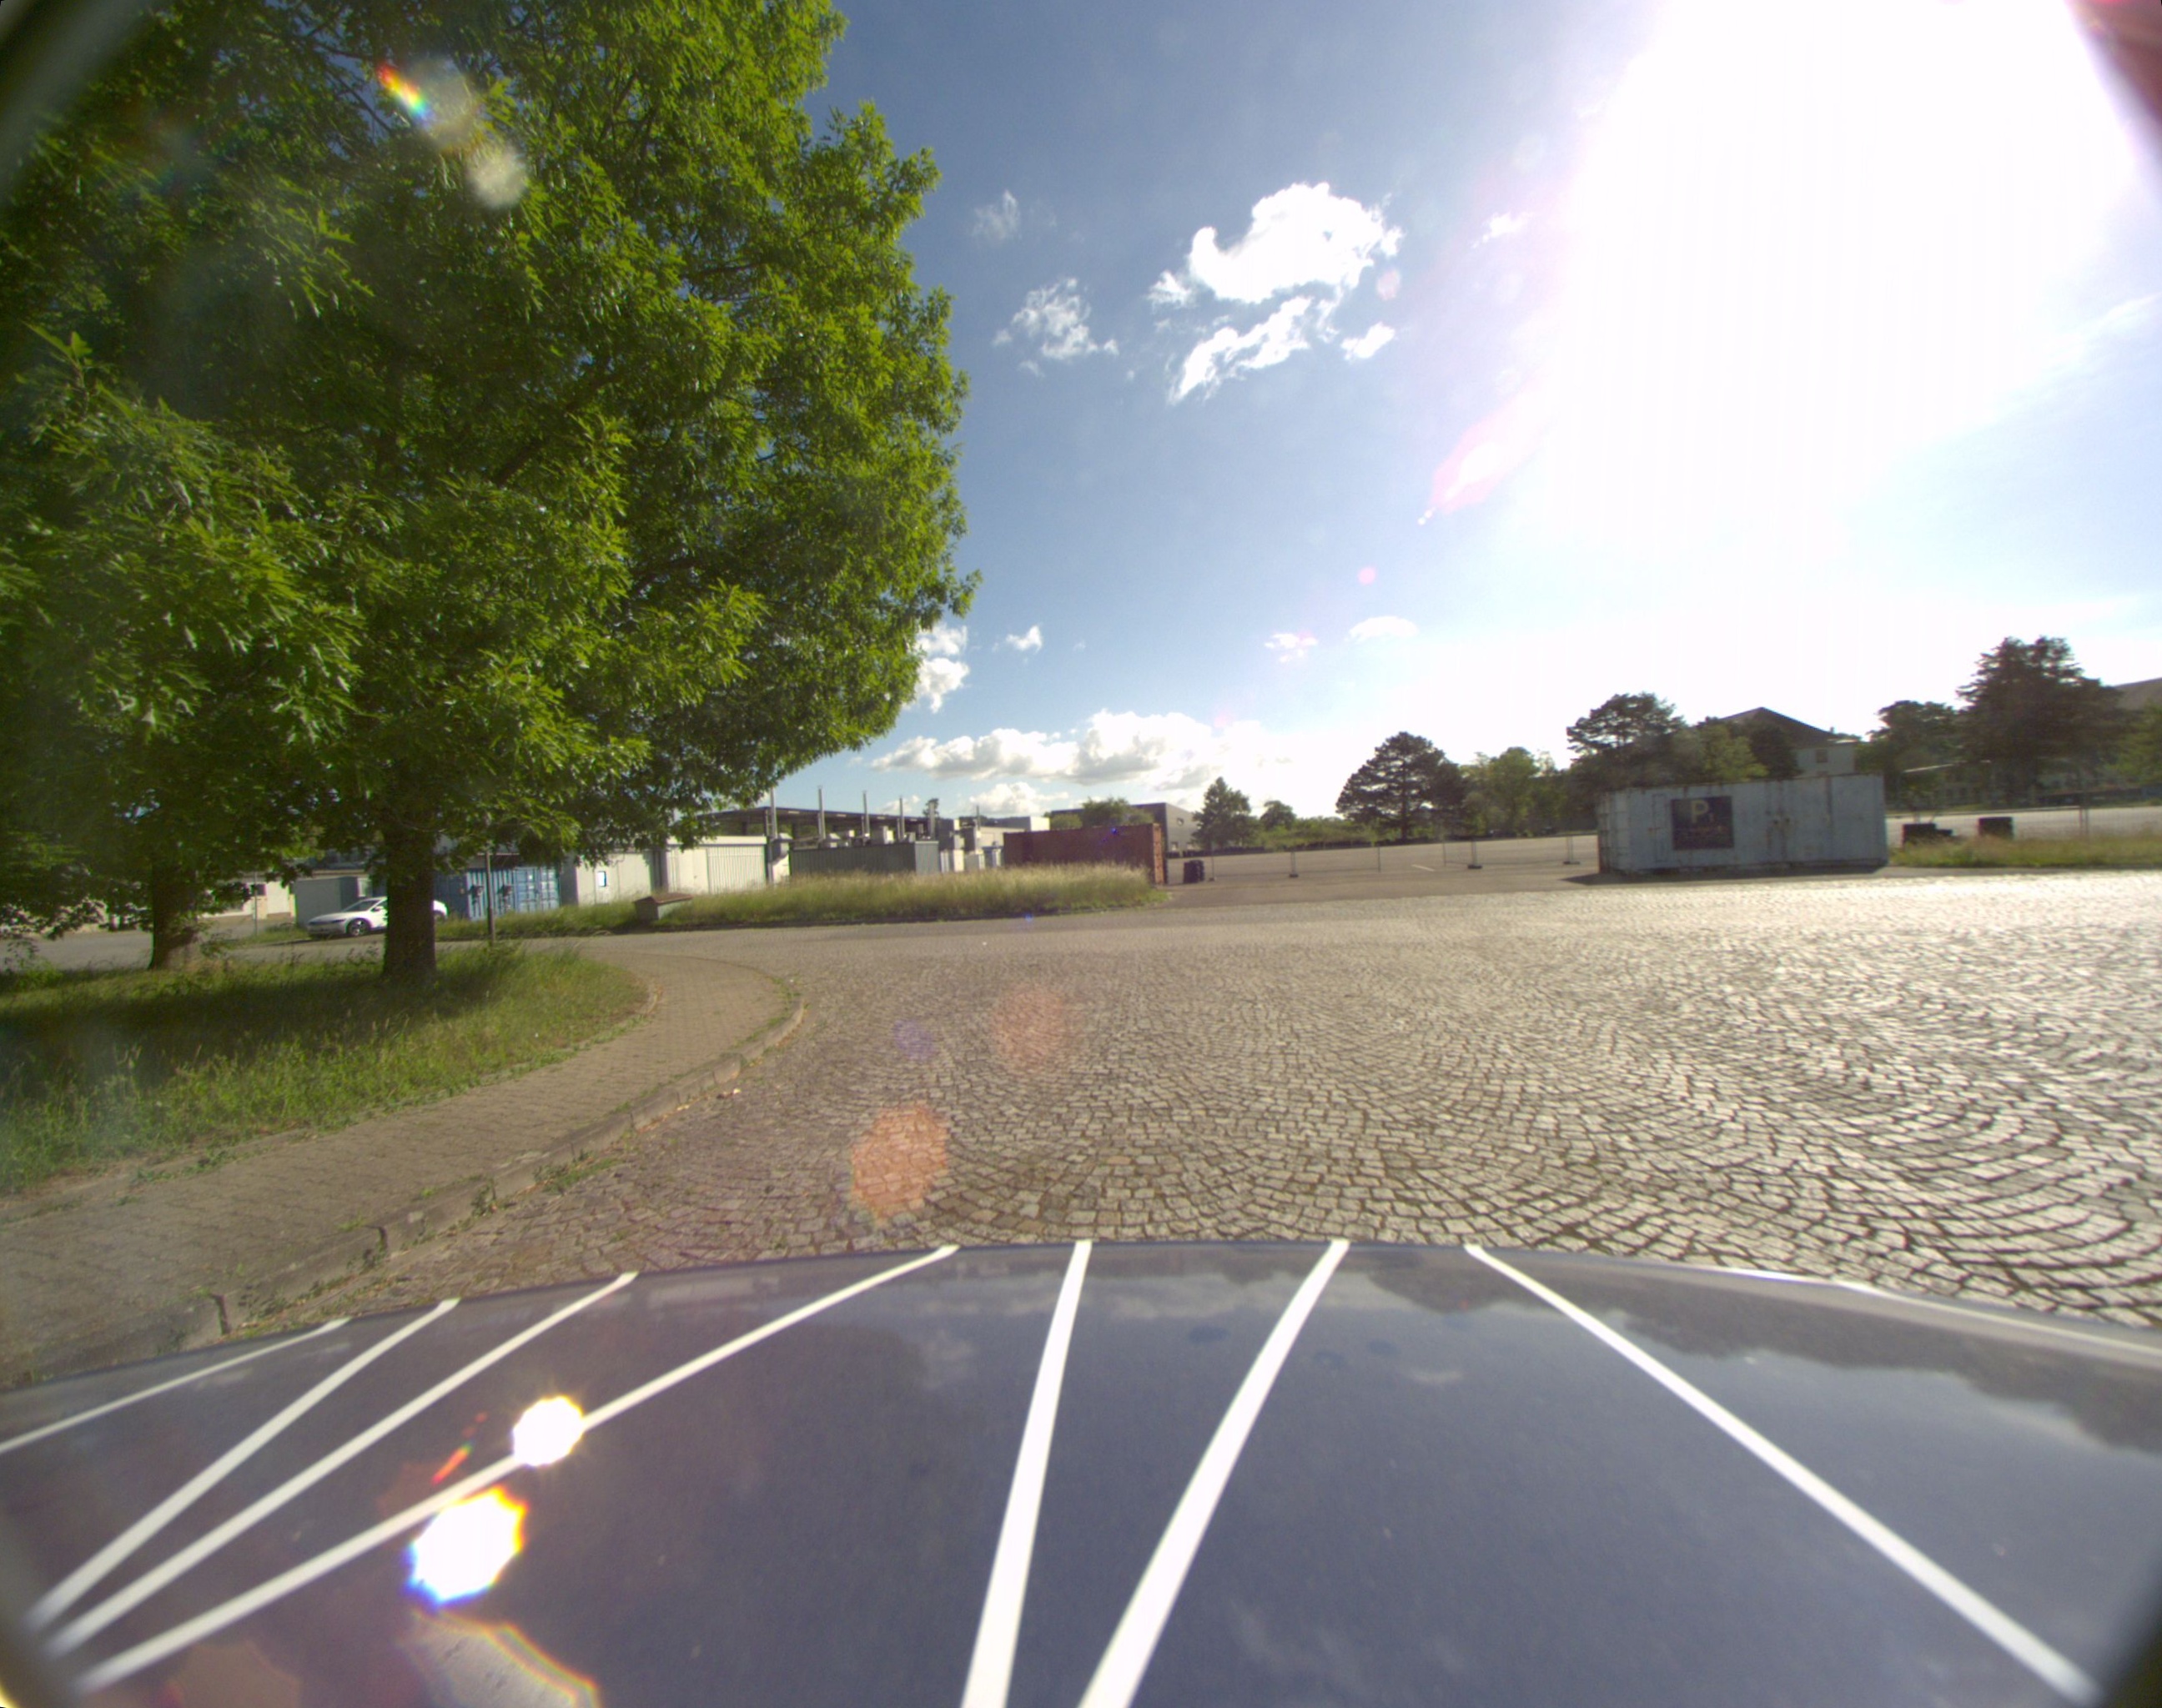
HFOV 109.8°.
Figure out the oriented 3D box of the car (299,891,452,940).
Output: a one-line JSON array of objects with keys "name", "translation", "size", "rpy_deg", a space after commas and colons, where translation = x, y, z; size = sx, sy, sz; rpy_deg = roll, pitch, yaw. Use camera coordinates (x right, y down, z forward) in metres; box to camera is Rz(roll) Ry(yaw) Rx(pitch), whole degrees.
[{"name": "car", "translation": [-30.502, 2.614, 33.061], "size": [1.821, 1.584, 4.523], "rpy_deg": [-4, 1, 13]}]
